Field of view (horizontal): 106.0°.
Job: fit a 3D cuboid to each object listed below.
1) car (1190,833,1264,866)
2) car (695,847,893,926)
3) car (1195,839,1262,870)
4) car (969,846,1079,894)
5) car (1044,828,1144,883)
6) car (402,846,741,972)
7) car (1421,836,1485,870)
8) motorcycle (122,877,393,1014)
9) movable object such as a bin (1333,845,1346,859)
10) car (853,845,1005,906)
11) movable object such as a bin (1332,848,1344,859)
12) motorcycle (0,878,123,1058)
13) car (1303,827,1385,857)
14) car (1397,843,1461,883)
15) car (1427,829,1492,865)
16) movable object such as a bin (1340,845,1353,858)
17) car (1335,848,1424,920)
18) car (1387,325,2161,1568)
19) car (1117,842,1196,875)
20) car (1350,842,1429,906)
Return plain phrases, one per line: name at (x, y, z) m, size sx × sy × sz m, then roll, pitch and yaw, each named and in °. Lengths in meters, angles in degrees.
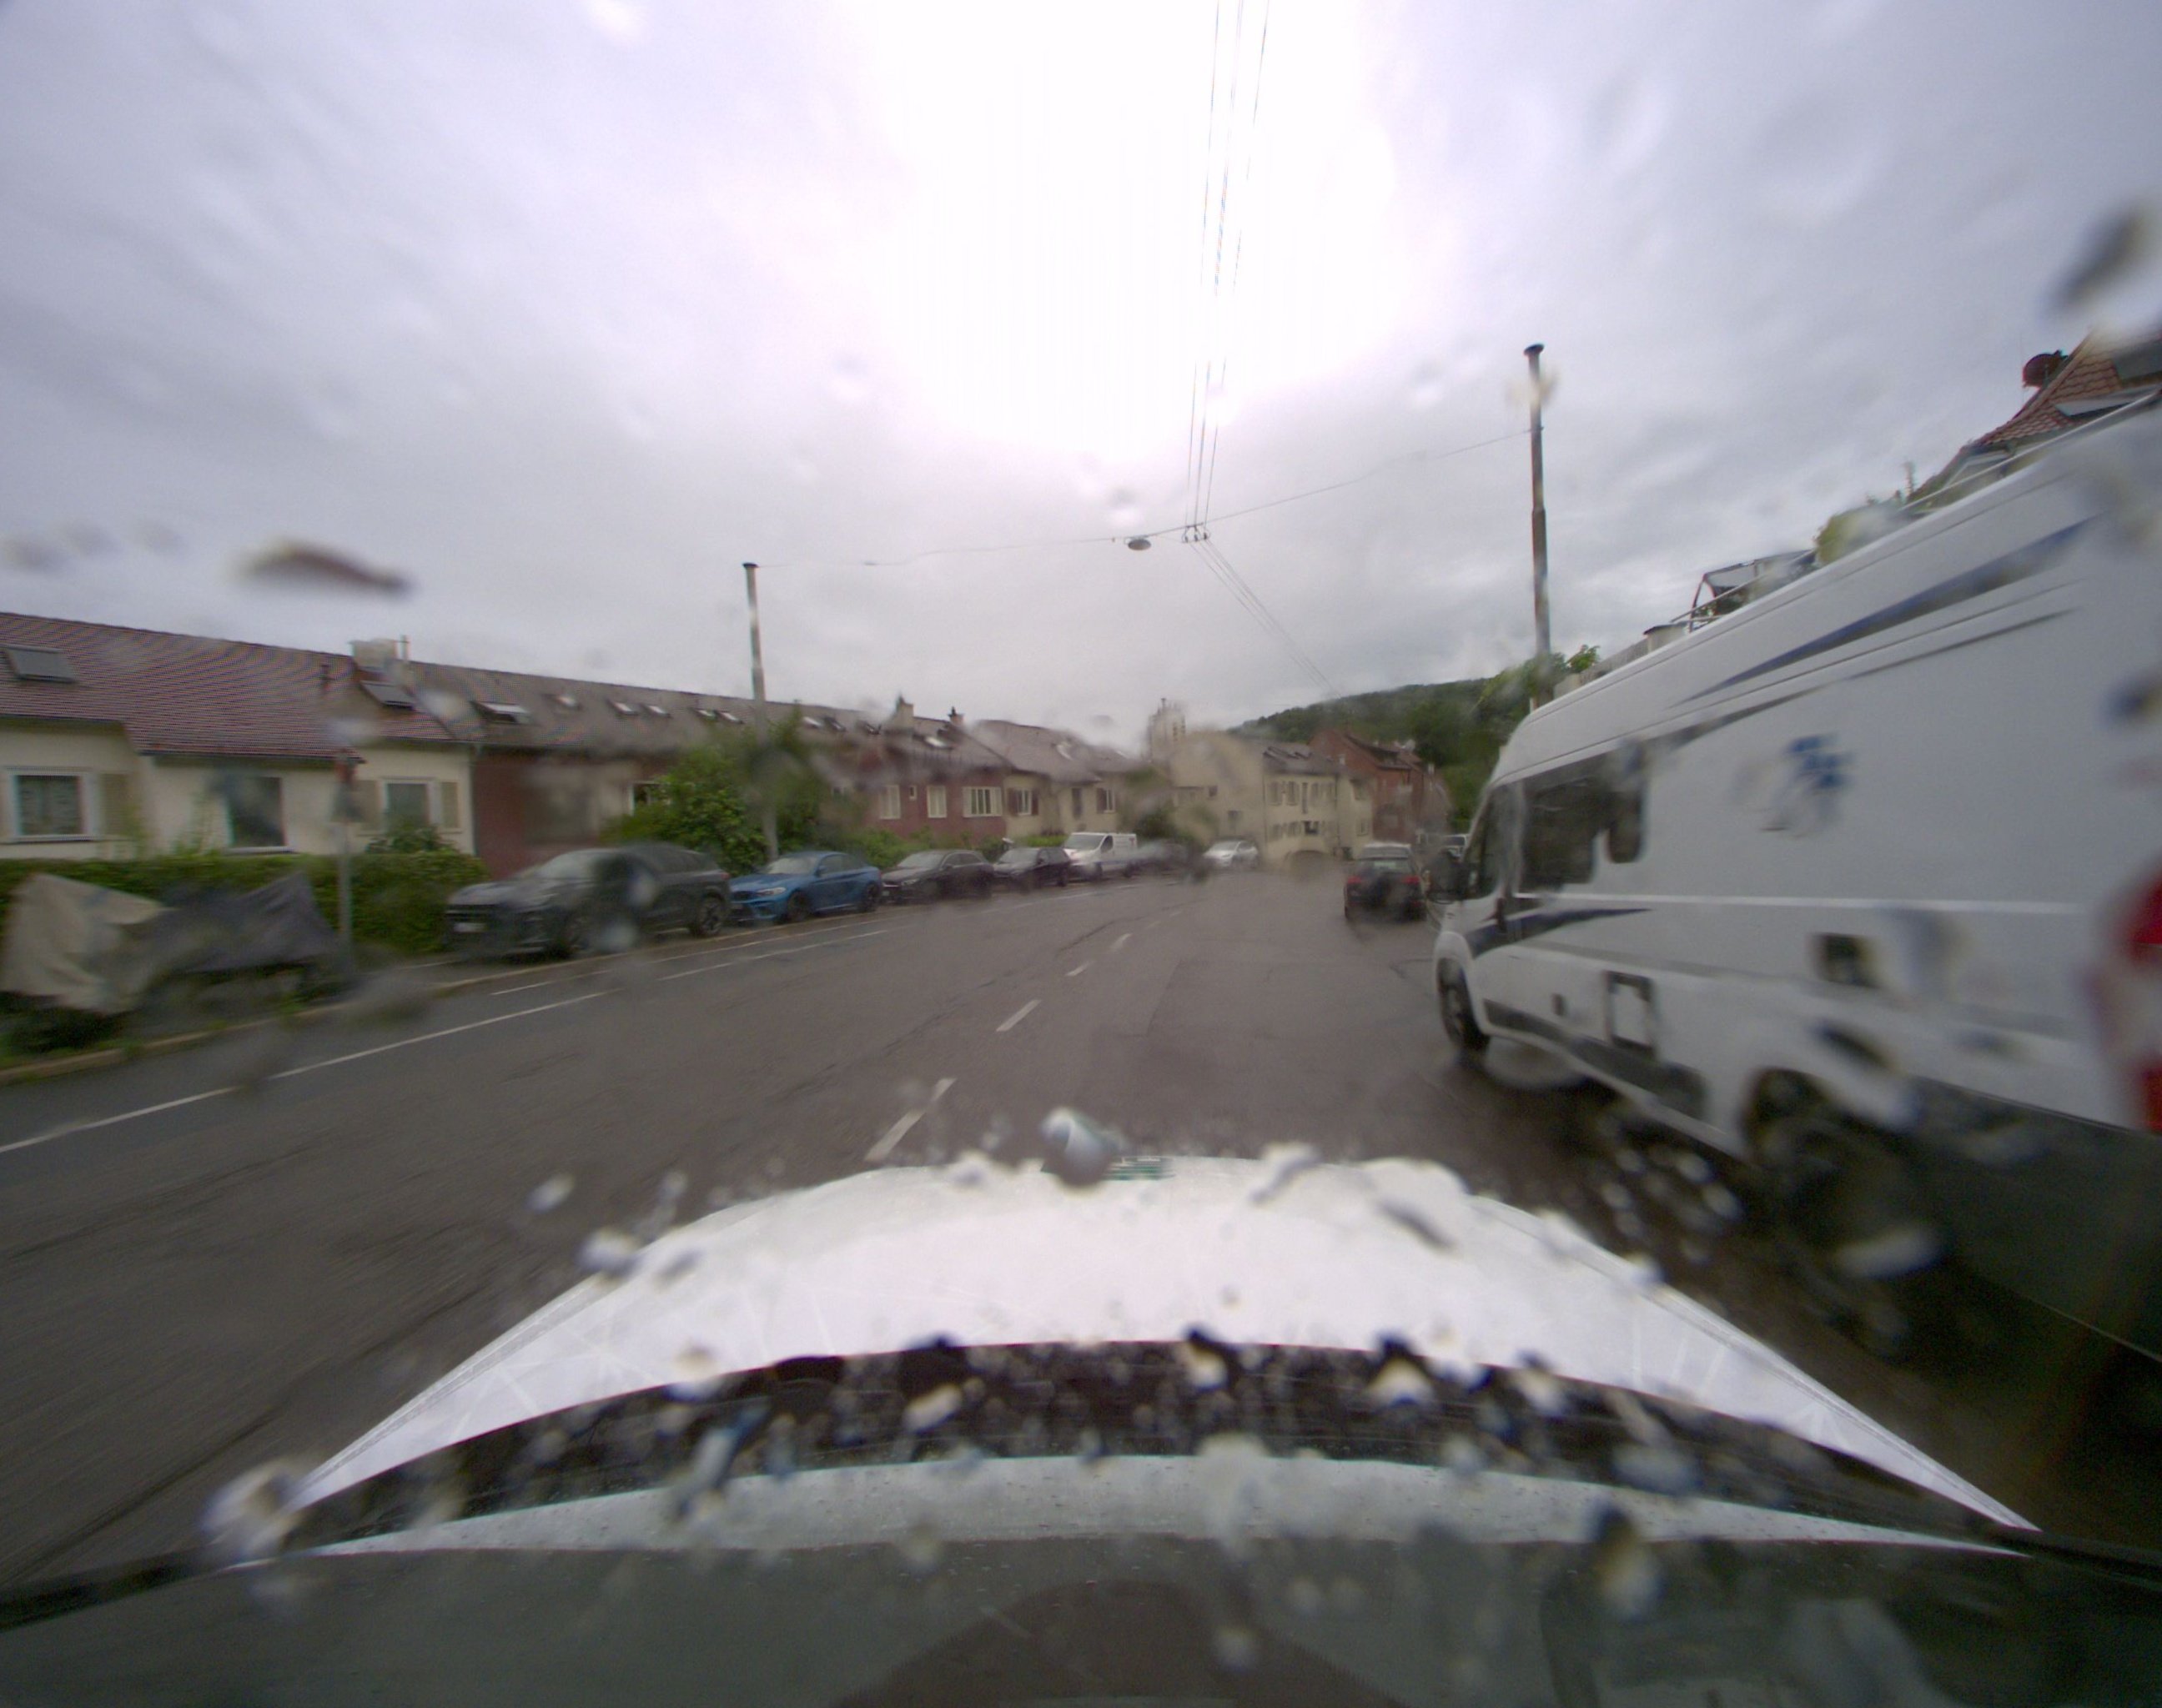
car at (9.851, -0.293, 54.937) m, size 4.444 × 2.013 × 1.900 m, roll -1°, pitch 2°, yaw 35°
car at (-5.996, 0.599, 17.684) m, size 1.686 × 1.404 × 4.493 m, roll 0°, pitch 1°, yaw 17°
car at (8.257, -0.011, 45.294) m, size 1.910 × 1.631 × 4.708 m, roll 0°, pitch 1°, yaw 34°
car at (-1.841, 0.476, 27.982) m, size 1.792 × 1.476 × 4.548 m, roll 0°, pitch 1°, yaw 24°
car at (0.644, 0.014, 33.292) m, size 1.830 × 2.078 × 5.052 m, roll 0°, pitch 1°, yaw 30°
car at (-7.548, 0.681, 12.725) m, size 1.908 × 1.577 × 4.403 m, roll 0°, pitch 1°, yaw 13°
car at (17.239, -0.083, 37.633) m, size 1.772 × 1.496 × 4.736 m, roll -1°, pitch 1°, yaw 36°
motorcycle at (-8.551, 0.912, 8.554) m, size 1.907 × 1.271 × 0.571 m, roll -1°, pitch 1°, yaw -20°
movable object such as a bin at (20.351, -0.152, 64.115) m, size 0.774 × 1.046 × 0.713 m, roll 0°, pitch 1°, yaw 39°
car at (-4.104, 0.523, 22.820) m, size 1.791 × 1.476 × 4.549 m, roll 0°, pitch 1°, yaw 27°
movable object such as a bin at (20.023, -0.059, 63.389) m, size 0.666 × 0.859 × 0.713 m, roll 0°, pitch 1°, yaw 39°
motorcycle at (-8.802, 0.899, 7.043) m, size 1.784 × 1.303 × 0.617 m, roll 0°, pitch 1°, yaw 39°
car at (23.319, -0.990, 72.310) m, size 6.590 × 2.553 × 2.181 m, roll -1°, pitch -1°, yaw 39°
car at (14.298, 0.344, 33.312) m, size 1.625 × 1.436 × 4.200 m, roll -1°, pitch 2°, yaw 34°
car at (23.413, -0.433, 50.310) m, size 2.286 × 1.939 × 4.352 m, roll -4°, pitch 0°, yaw 44°
movable object such as a bin at (21.121, -0.190, 64.761) m, size 0.774 × 1.046 × 0.743 m, roll 0°, pitch 1°, yaw 39°
car at (7.114, 0.612, 19.168) m, size 1.663 × 1.483 × 4.225 m, roll -1°, pitch 0°, yaw 24°
car at (3.511, 0.163, 4.332) m, size 2.088 × 2.542 × 5.630 m, roll -3°, pitch -1°, yaw 7°
car at (3.649, 0.169, 38.549) m, size 1.790 × 1.476 × 4.551 m, roll 0°, pitch 1°, yaw 34°
car at (9.023, 0.522, 23.601) m, size 1.787 × 1.649 × 4.235 m, roll -1°, pitch 1°, yaw 25°
